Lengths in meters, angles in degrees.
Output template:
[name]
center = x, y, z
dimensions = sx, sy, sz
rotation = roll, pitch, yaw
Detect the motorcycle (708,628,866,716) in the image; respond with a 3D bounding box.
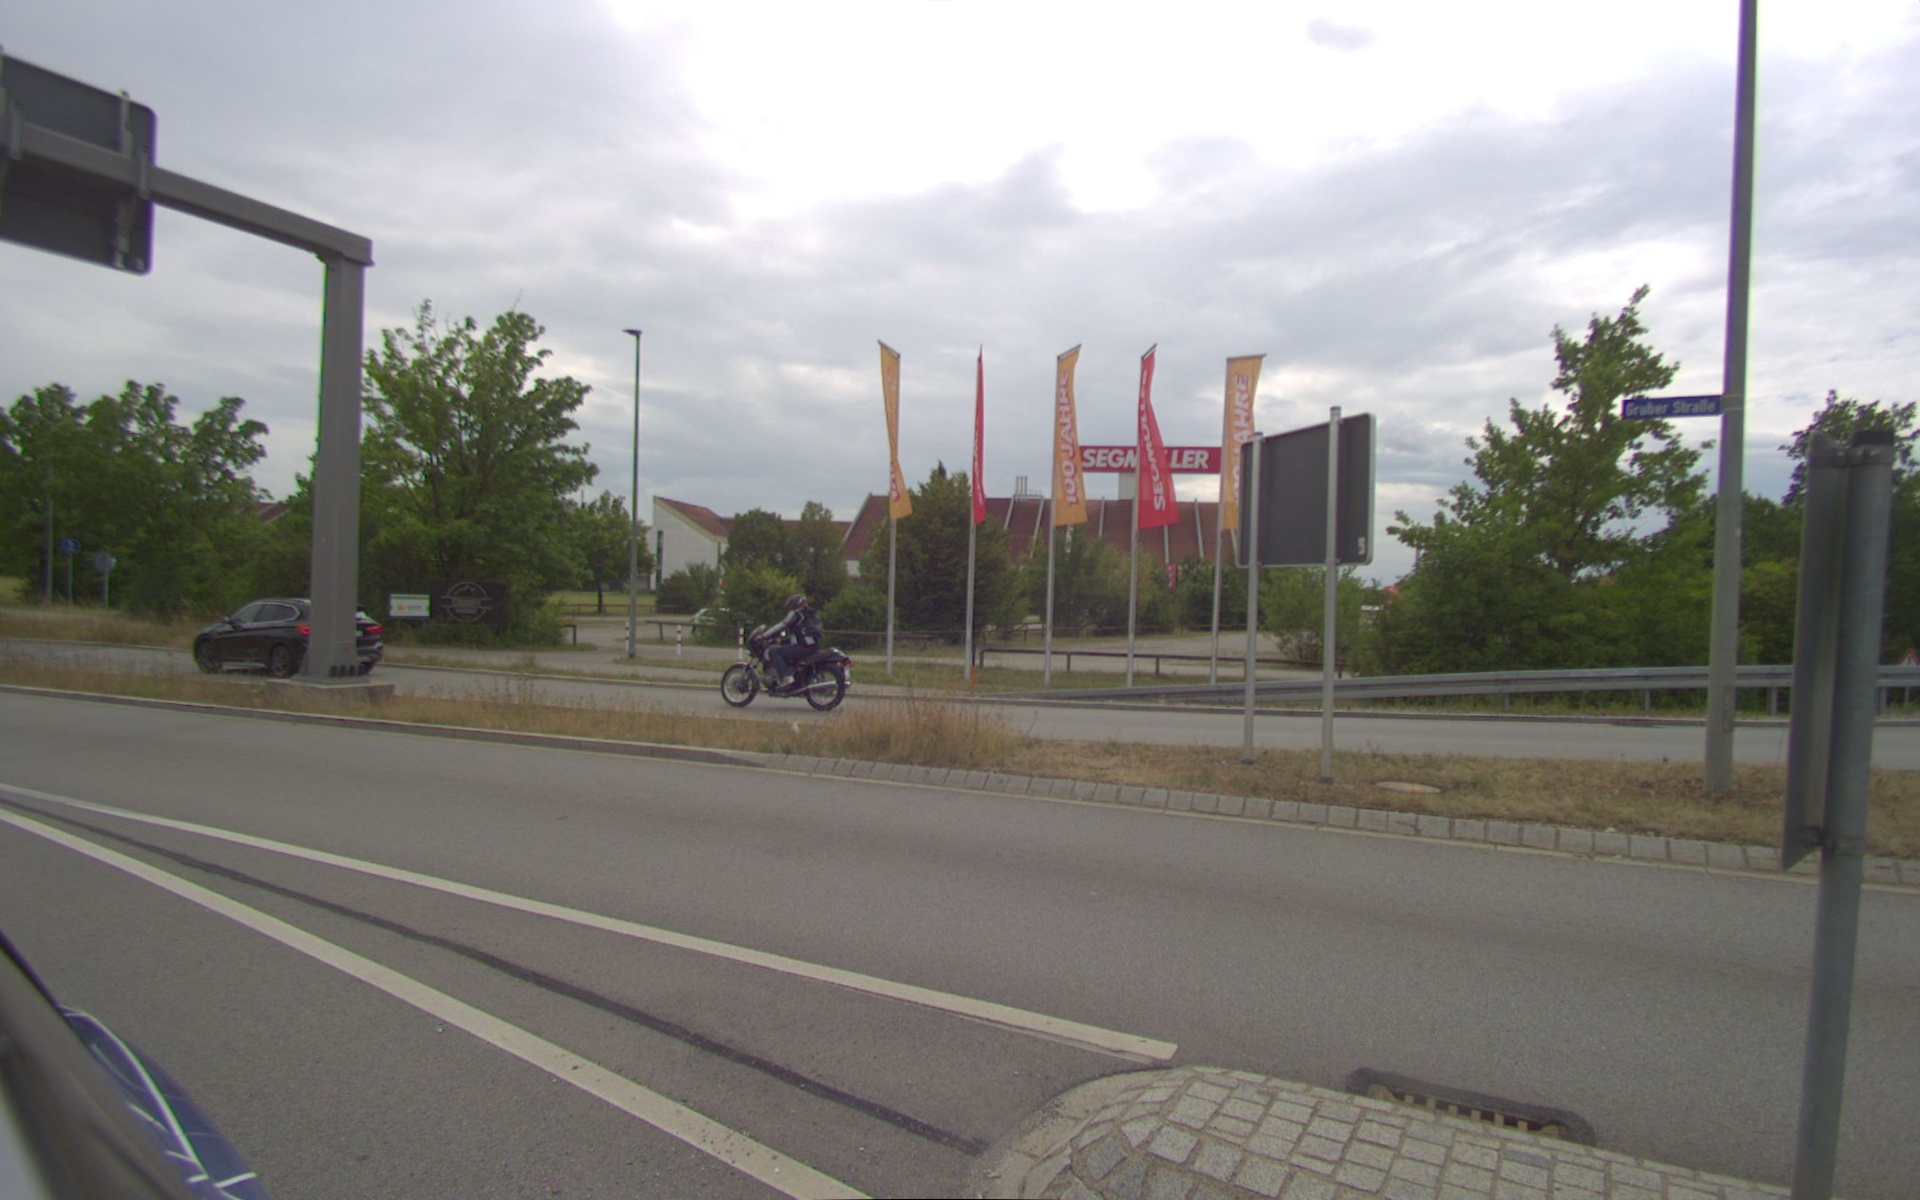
[motorcycle]
center = -2.554, 1.037, 14.901
dimensions = 2.230, 1.239, 0.699
rotation = -1, -1, 18

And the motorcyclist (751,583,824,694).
[motorcyclist]
center = -2.531, 0.560, 14.895
dimensions = 0.839, 1.588, 0.671
rotation = 0, -1, 17

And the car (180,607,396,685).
[car]
center = -14.057, 0.911, 21.163
dimensions = 4.258, 1.478, 1.876
rotation = 0, -2, 26
